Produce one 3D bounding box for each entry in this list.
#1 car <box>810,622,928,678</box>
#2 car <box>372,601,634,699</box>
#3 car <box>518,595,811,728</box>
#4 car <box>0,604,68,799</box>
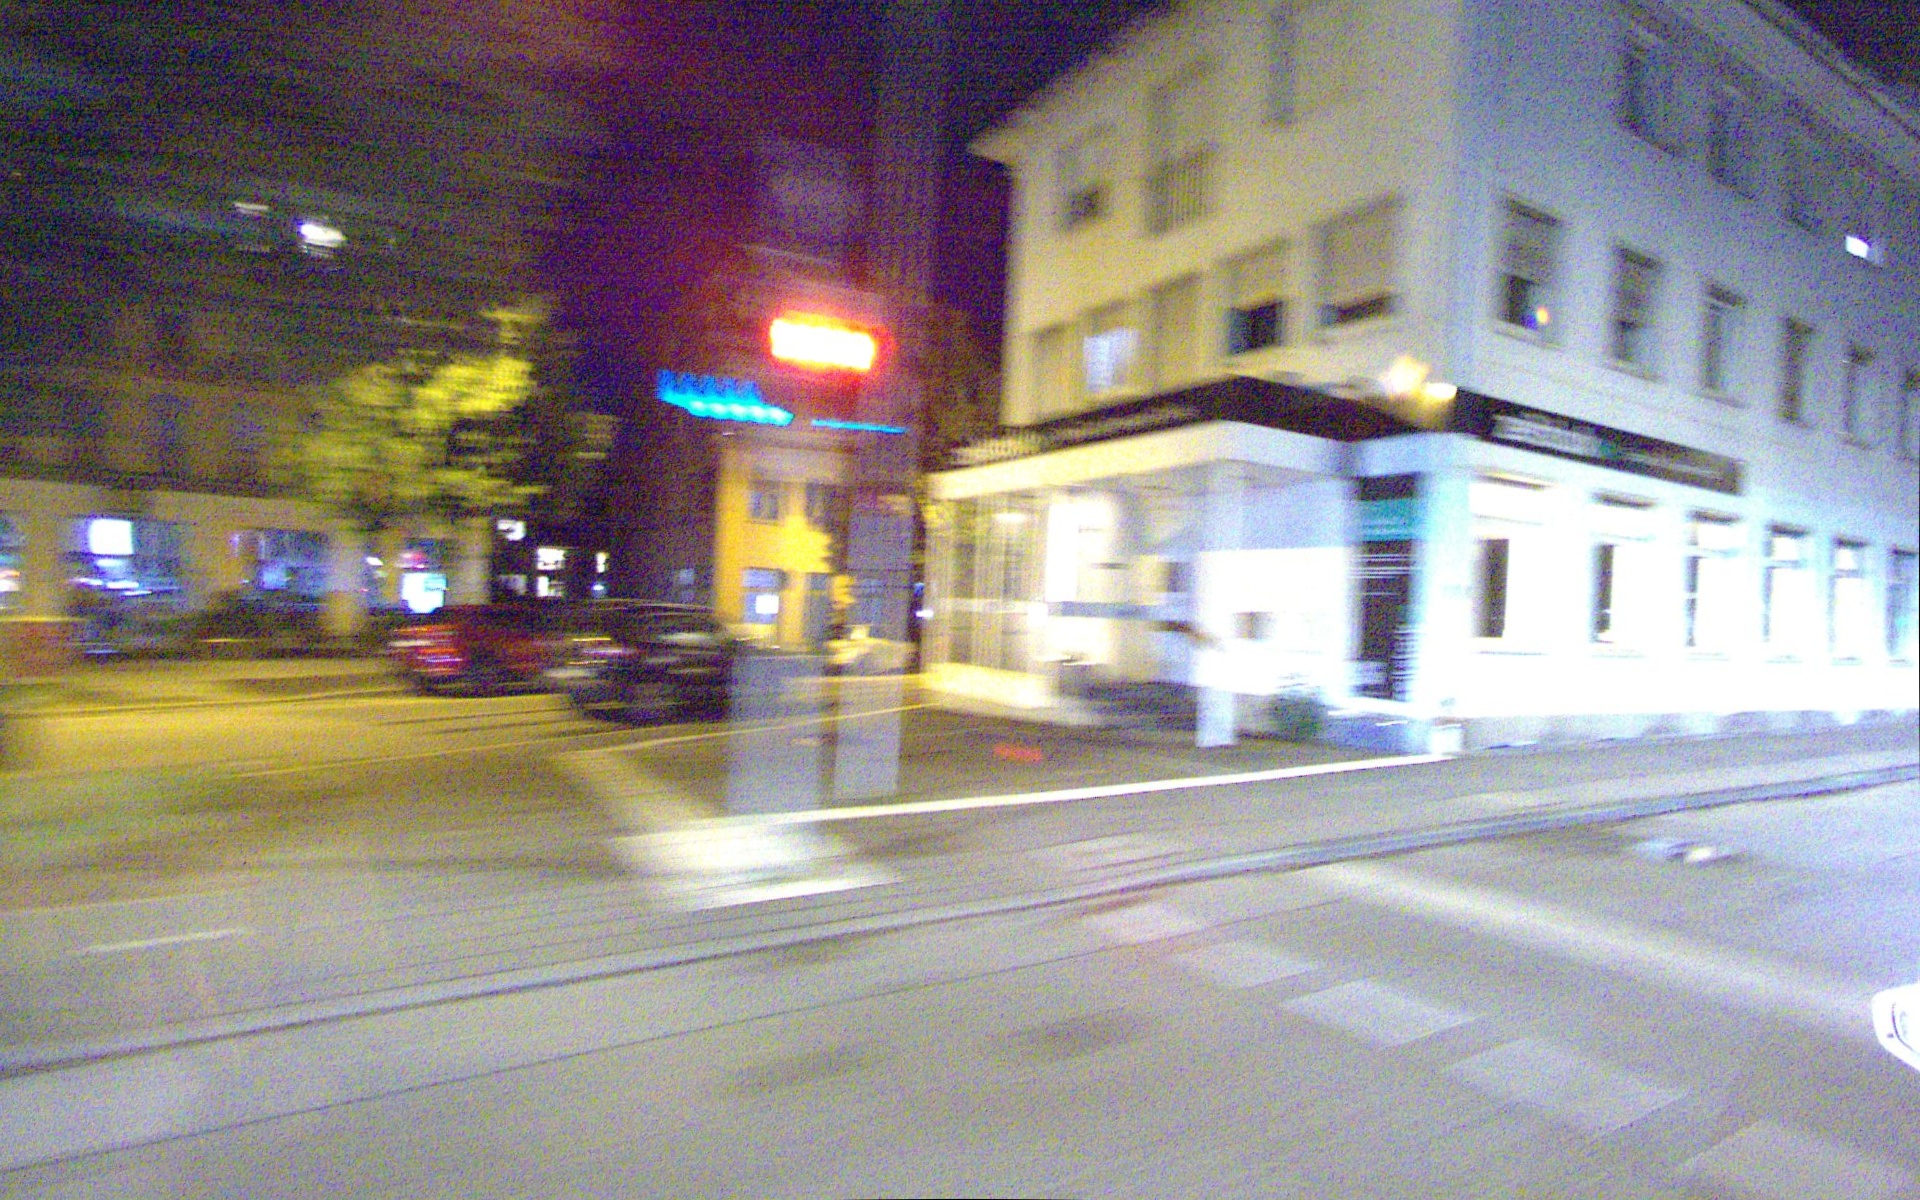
[{"bbox_3d":[-2.611,1.438,29.467,1.579,1.508,3.548,0,-2,33],"label":"car"},{"bbox_3d":[-8.563,0.939,19.206,1.810,1.634,4.251,0,-3,31],"label":"car"},{"bbox_3d":[-4.432,0.888,15.683,1.886,1.666,4.102,4,0,31],"label":"car"},{"bbox_3d":[-8.866,0.668,6.149,1.858,1.443,4.723,1,-2,28],"label":"car"}]
